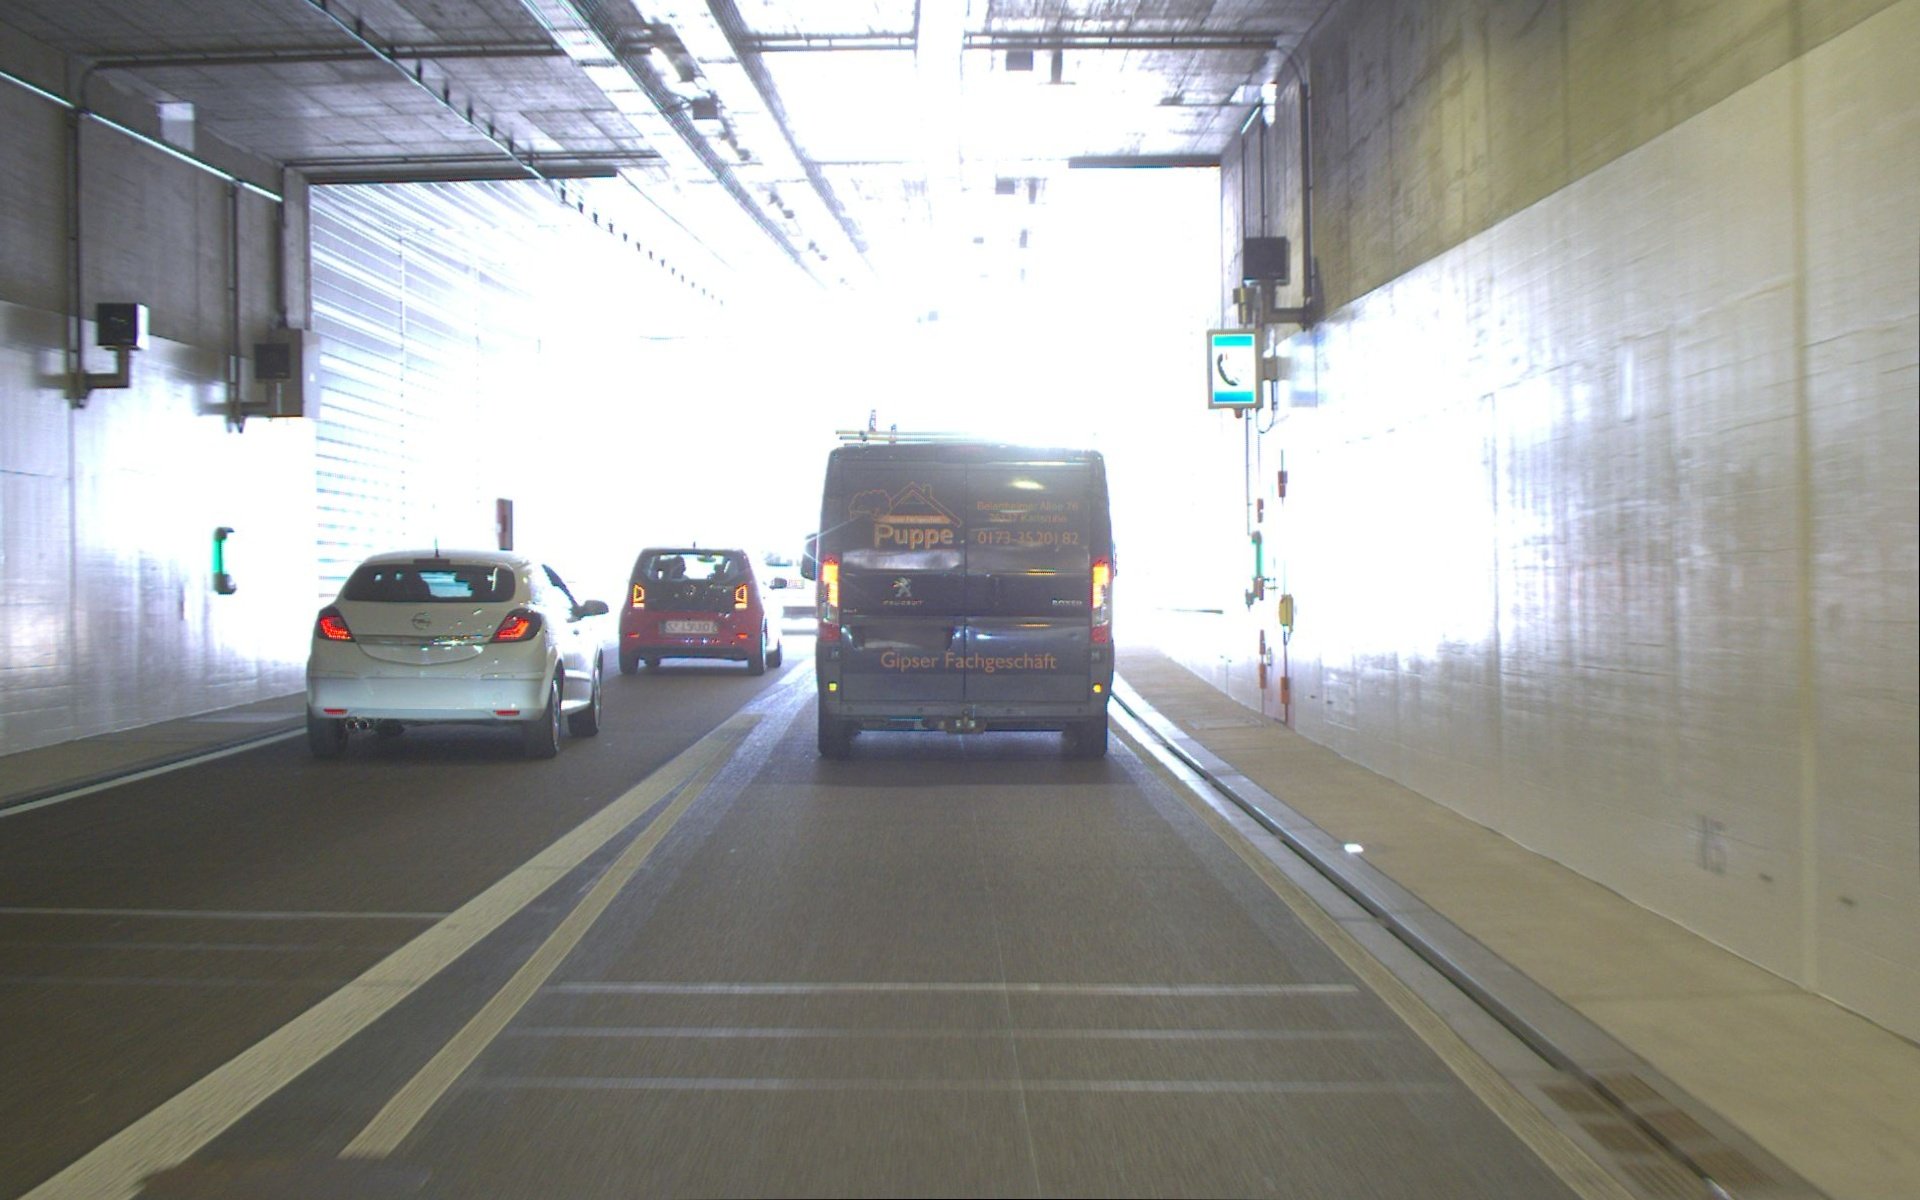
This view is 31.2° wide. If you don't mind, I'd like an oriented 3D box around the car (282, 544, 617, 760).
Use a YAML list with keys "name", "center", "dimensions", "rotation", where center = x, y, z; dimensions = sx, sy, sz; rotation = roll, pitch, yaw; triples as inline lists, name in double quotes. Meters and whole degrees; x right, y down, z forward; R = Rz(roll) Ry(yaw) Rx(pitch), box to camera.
- name: "car"
  center: [-3.569, 0.311, 24.668]
  dimensions: [1.709, 1.408, 3.974]
  rotation: [0, 1, 2]

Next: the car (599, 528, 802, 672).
- name: "car"
  center: [-2.918, -0.043, 39.522]
  dimensions: [1.815, 1.507, 4.220]
  rotation: [2, 1, 2]

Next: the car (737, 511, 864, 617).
- name: "car"
  center: [-2.514, -0.547, 55.066]
  dimensions: [1.876, 1.576, 4.220]
  rotation: [2, 0, -1]

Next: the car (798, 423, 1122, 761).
- name: "car"
  center: [0.014, -0.120, 25.280]
  dimensions: [2.158, 2.258, 4.637]
  rotation: [0, 2, 0]
